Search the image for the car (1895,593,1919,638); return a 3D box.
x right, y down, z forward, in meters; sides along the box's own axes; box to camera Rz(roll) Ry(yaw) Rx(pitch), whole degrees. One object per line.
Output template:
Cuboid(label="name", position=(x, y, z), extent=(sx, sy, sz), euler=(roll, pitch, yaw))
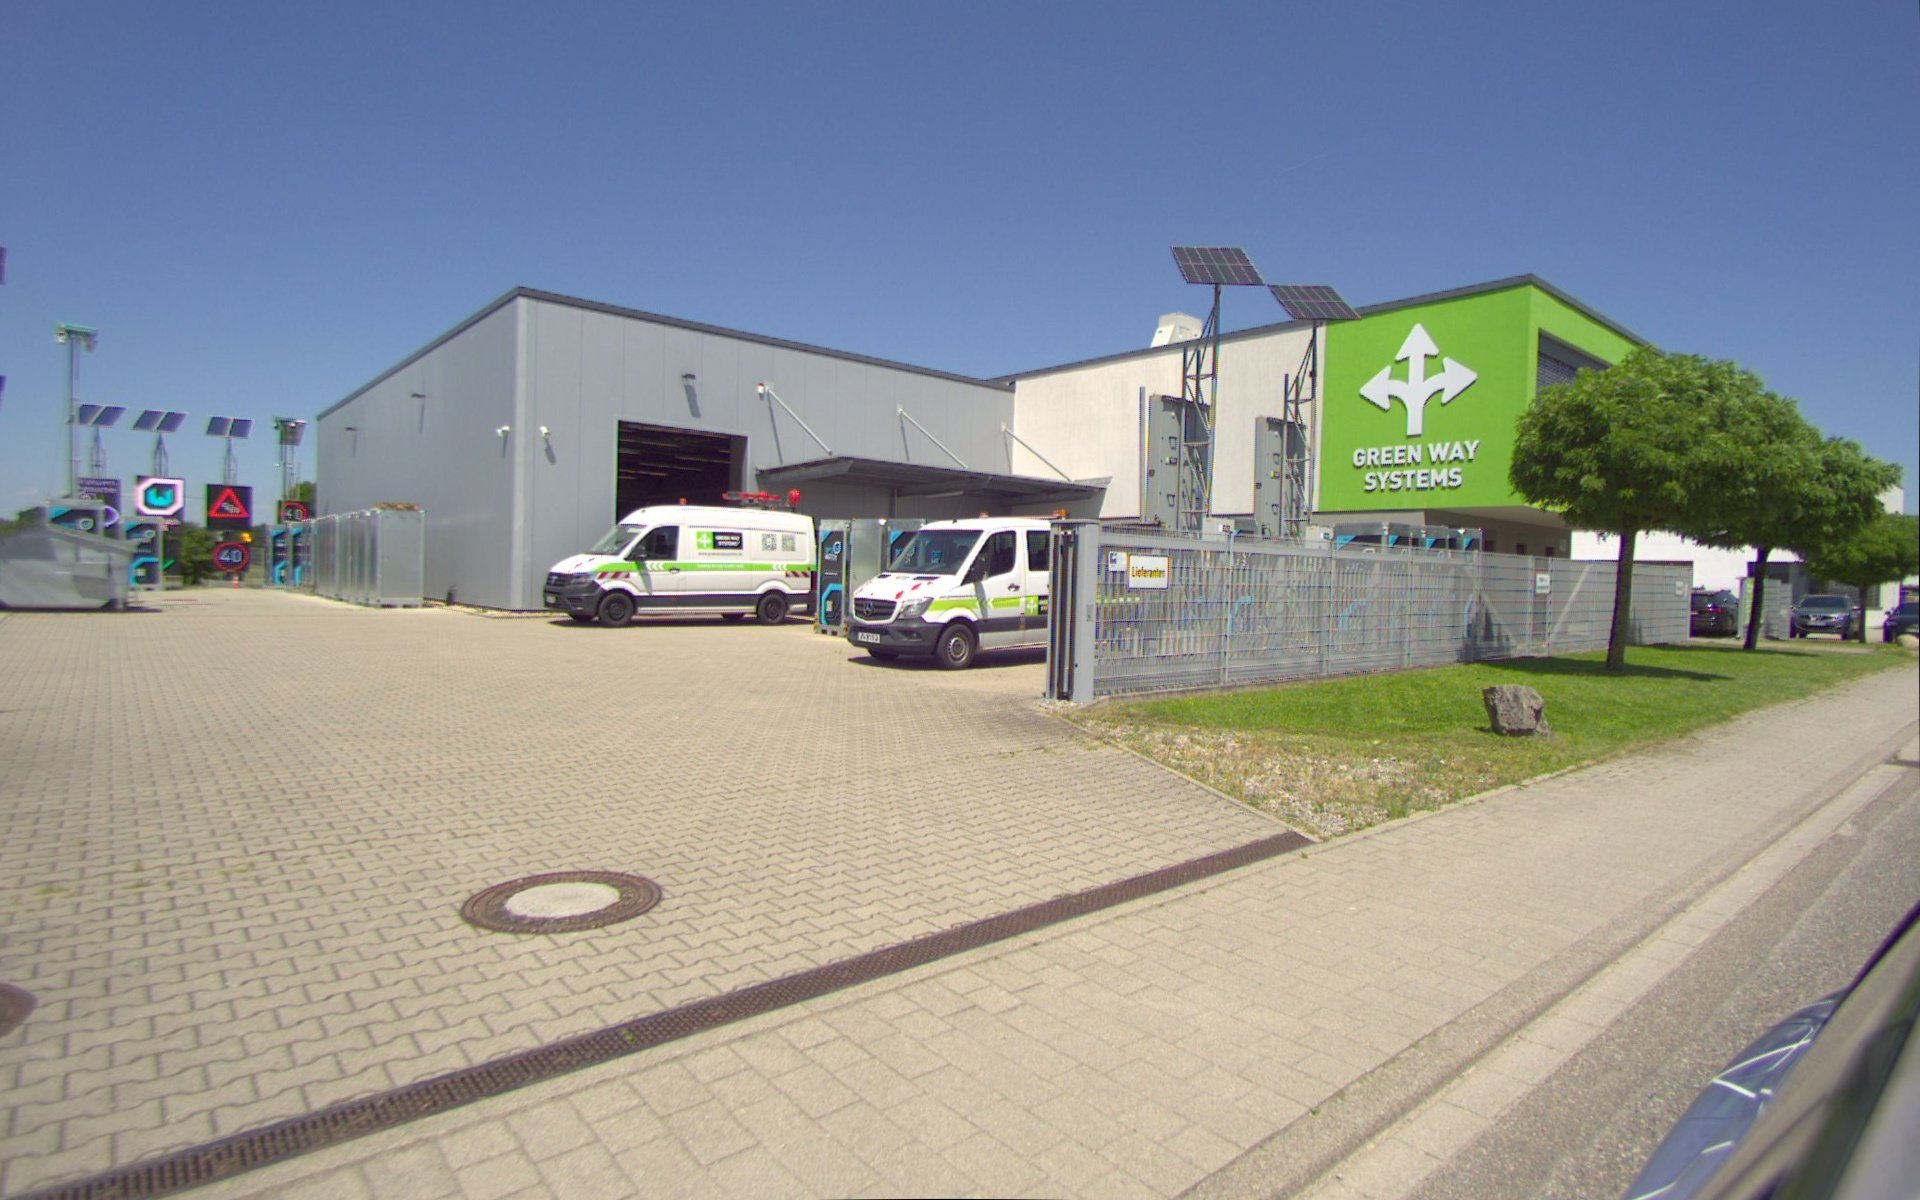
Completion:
Cuboid(label="car", position=(32.973, 0.499, 34.103), extent=(4.172, 1.446, 1.695), euler=(0, 1, -41))

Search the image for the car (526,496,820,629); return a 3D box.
Cuboid(label="car", position=(-6.097, -0.808, 22.022), extent=(5.758, 2.524, 2.134), euler=(0, 4, -41))

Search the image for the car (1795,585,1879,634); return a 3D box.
Cuboid(label="car", position=(31.346, 0.308, 36.144), extent=(3.952, 1.653, 1.726), euler=(0, 1, -41))

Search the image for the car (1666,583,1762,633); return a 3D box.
Cuboid(label="car", position=(24.645, 0.218, 33.039), extent=(3.986, 1.415, 1.741), euler=(-3, 3, -41))

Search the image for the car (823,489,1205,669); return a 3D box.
Cuboid(label="car", position=(1.186, -0.389, 17.242), extent=(6.903, 2.524, 2.134), euler=(0, 4, -41))
